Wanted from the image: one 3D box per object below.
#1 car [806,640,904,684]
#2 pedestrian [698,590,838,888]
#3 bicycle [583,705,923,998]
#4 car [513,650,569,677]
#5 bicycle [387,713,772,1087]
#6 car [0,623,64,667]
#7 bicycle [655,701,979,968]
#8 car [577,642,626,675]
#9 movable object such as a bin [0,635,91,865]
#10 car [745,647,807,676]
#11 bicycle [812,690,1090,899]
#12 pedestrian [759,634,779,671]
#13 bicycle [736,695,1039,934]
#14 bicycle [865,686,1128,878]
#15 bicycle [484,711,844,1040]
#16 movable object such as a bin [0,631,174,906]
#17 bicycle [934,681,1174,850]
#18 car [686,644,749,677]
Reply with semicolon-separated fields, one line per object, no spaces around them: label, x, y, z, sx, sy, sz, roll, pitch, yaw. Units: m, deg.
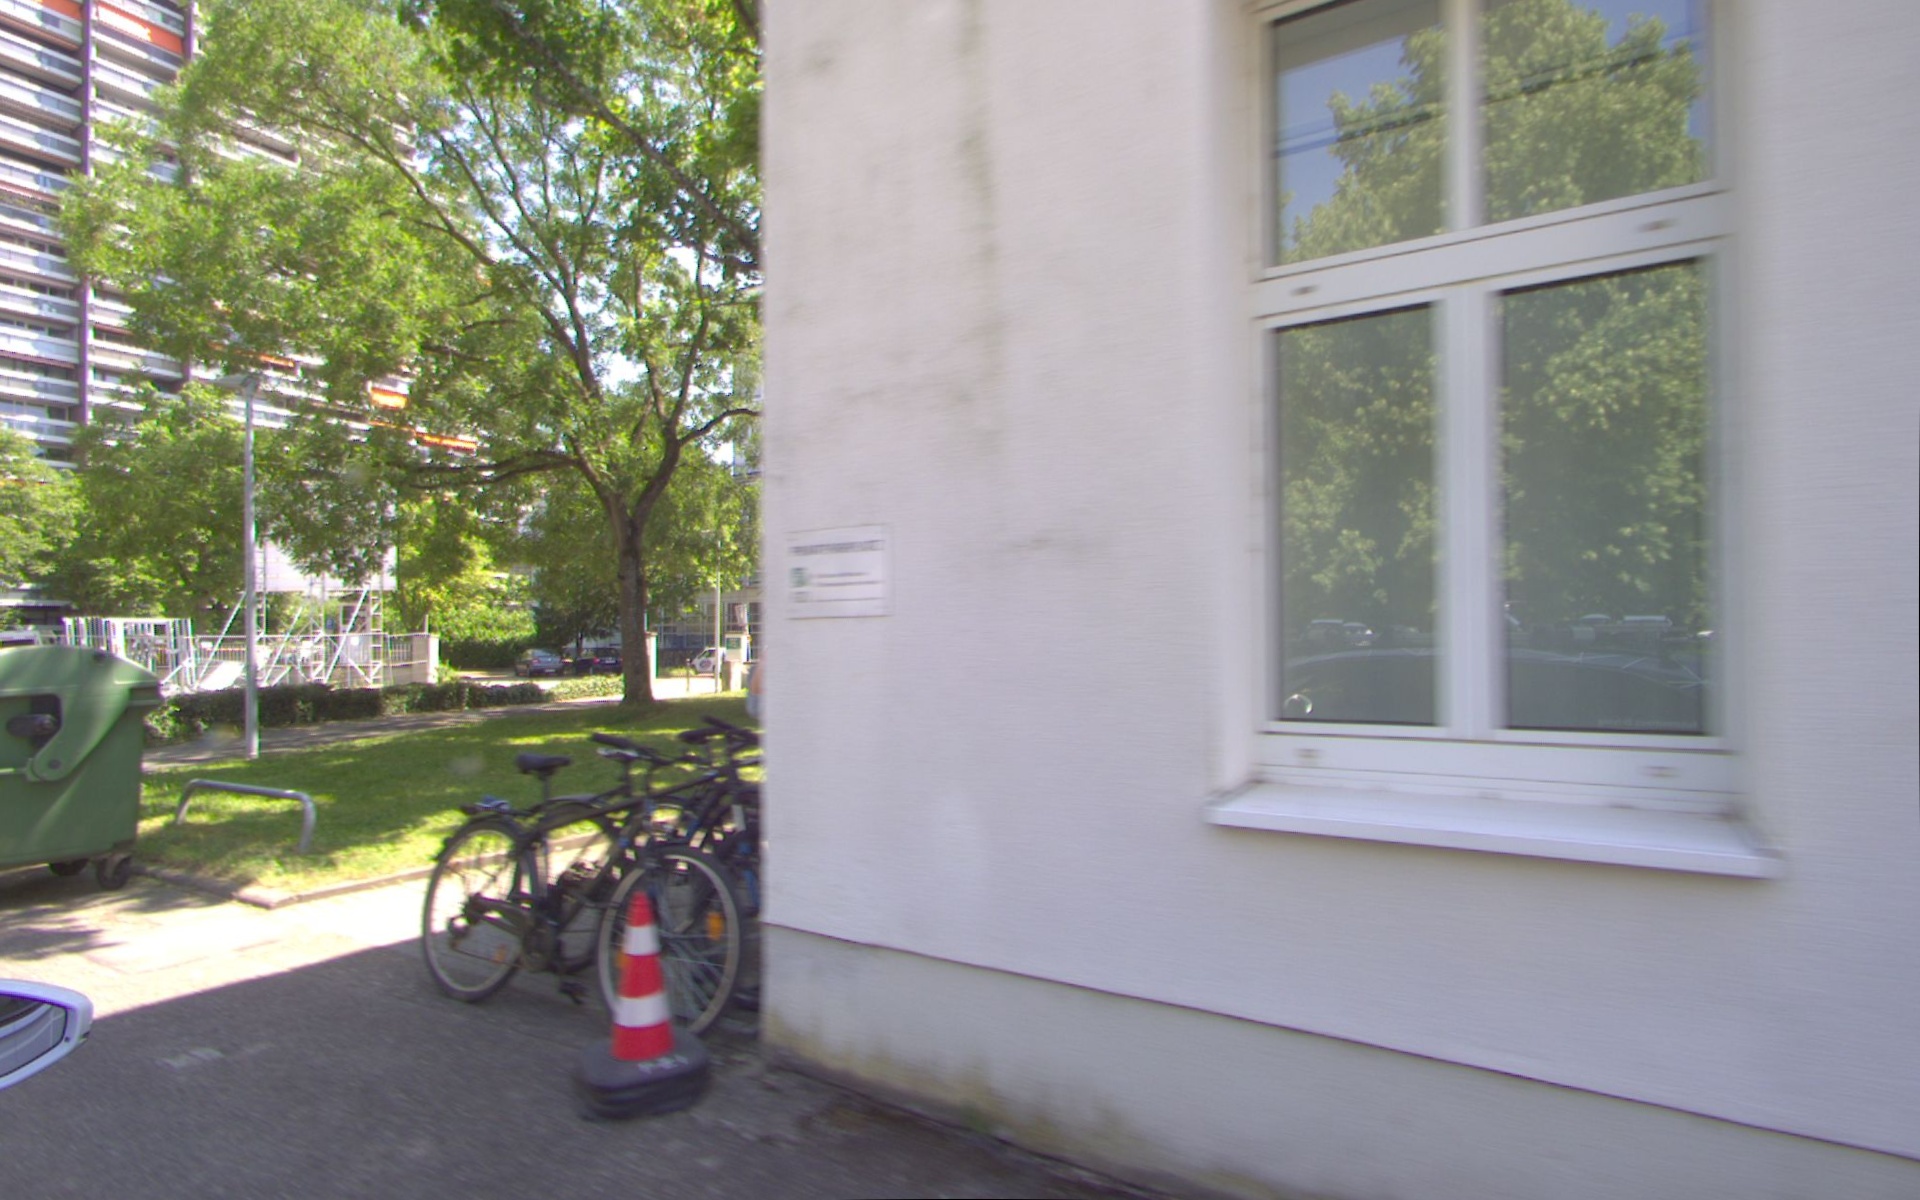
car;-3.732;2.213;35.863;3.267;1.498;1.434;-1;-2;4
pedestrian;-1.223;0.844;6.374;0.680;1.771;0.549;-2;-2;34
bicycle;-1.031;1.087;4.717;1.801;1.115;0.404;-2;-2;33
car;-22.152;3.329;52.847;1.897;1.327;3.904;1;-3;-36
bicycle;-1.535;1.035;3.874;1.801;1.115;0.404;-2;-2;33
car;-50.755;2.450;54.708;2.164;2.286;4.837;1;-3;-36
bicycle;-0.780;1.099;5.076;1.801;1.115;0.404;-2;-2;33
car;-19.018;3.069;53.035;1.987;1.650;3.915;0;-3;-27
movable object such as a bin;-6.790;0.984;6.759;1.358;1.476;1.073;-2;-2;33
car;-9.636;3.190;52.204;1.650;1.433;3.683;1;-3;-38
bicycle;-0.100;1.140;6.240;1.801;1.115;0.404;-2;-2;33
pedestrian;-10.707;2.906;56.014;0.979;2.039;0.875;0;-2;-19
bicycle;-0.452;1.117;5.588;1.801;1.115;0.404;-2;-2;33
bicycle;0.202;1.157;6.725;1.801;1.115;0.404;-2;-2;33
bicycle;-1.330;1.074;4.298;1.801;1.115;0.404;-2;-2;33
movable object such as a bin;-5.605;0.934;5.971;1.358;1.476;1.073;-2;-2;33
bicycle;0.664;1.183;7.486;1.801;1.115;0.404;-2;-2;33
car;-12.790;3.165;52.714;1.652;1.609;3.660;1;-3;-42
